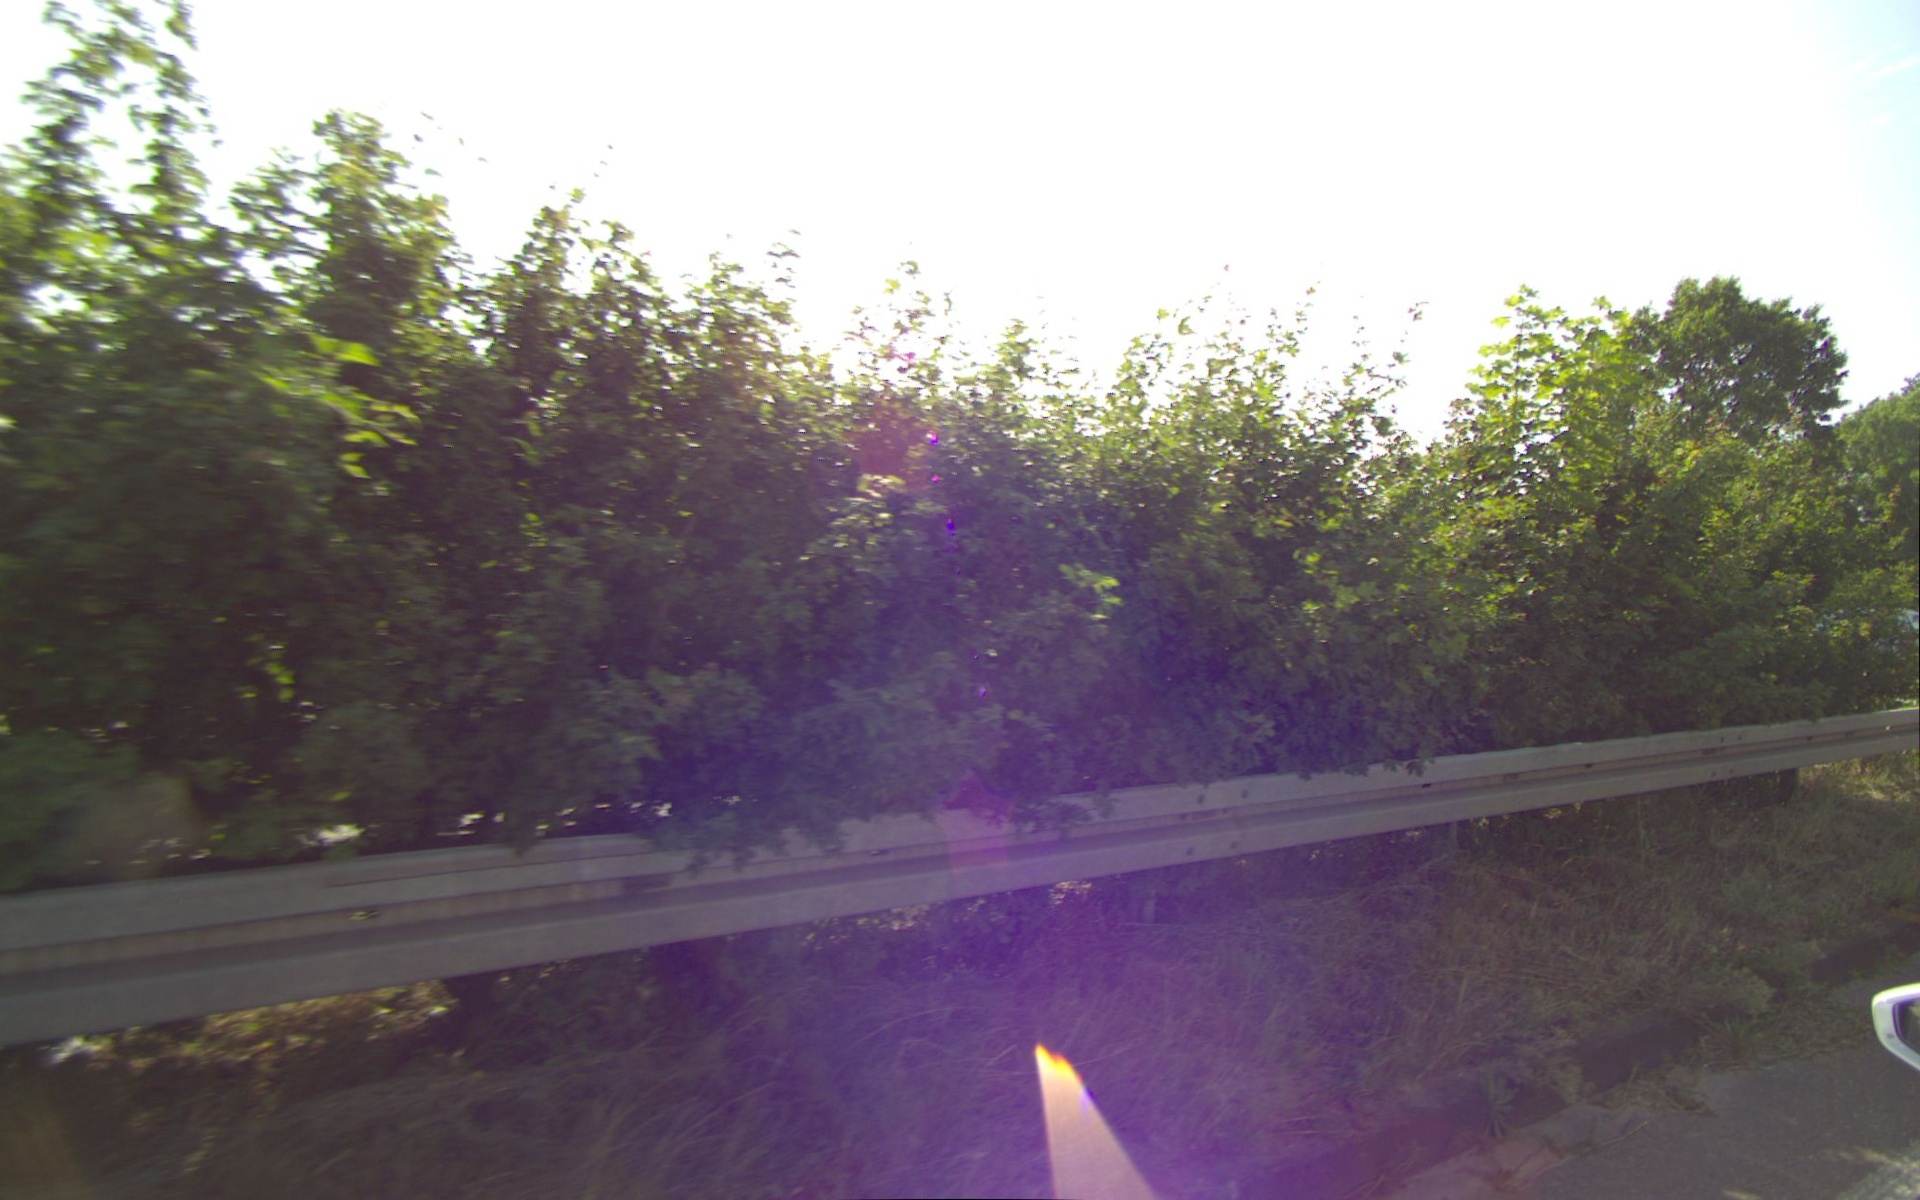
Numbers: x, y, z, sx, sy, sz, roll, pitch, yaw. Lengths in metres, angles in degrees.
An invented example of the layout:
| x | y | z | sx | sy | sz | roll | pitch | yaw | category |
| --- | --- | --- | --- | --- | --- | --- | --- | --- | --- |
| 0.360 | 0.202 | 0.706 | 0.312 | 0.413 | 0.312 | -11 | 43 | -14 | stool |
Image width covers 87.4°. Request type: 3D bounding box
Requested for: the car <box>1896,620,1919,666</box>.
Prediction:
| x | y | z | sx | sy | sz | roll | pitch | yaw | category |
| --- | --- | --- | --- | --- | --- | --- | --- | --- | --- |
| 32.116 | 1.438 | 32.718 | 3.495 | 1.438 | 1.588 | 2 | -1 | -34 | car |

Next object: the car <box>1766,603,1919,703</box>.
| x | y | z | sx | sy | sz | roll | pitch | yaw | category |
| --- | --- | --- | --- | --- | --- | --- | --- | --- | --- |
| 16.818 | 0.925 | 18.576 | 4.271 | 1.644 | 1.585 | 1 | 0 | -31 | car |
